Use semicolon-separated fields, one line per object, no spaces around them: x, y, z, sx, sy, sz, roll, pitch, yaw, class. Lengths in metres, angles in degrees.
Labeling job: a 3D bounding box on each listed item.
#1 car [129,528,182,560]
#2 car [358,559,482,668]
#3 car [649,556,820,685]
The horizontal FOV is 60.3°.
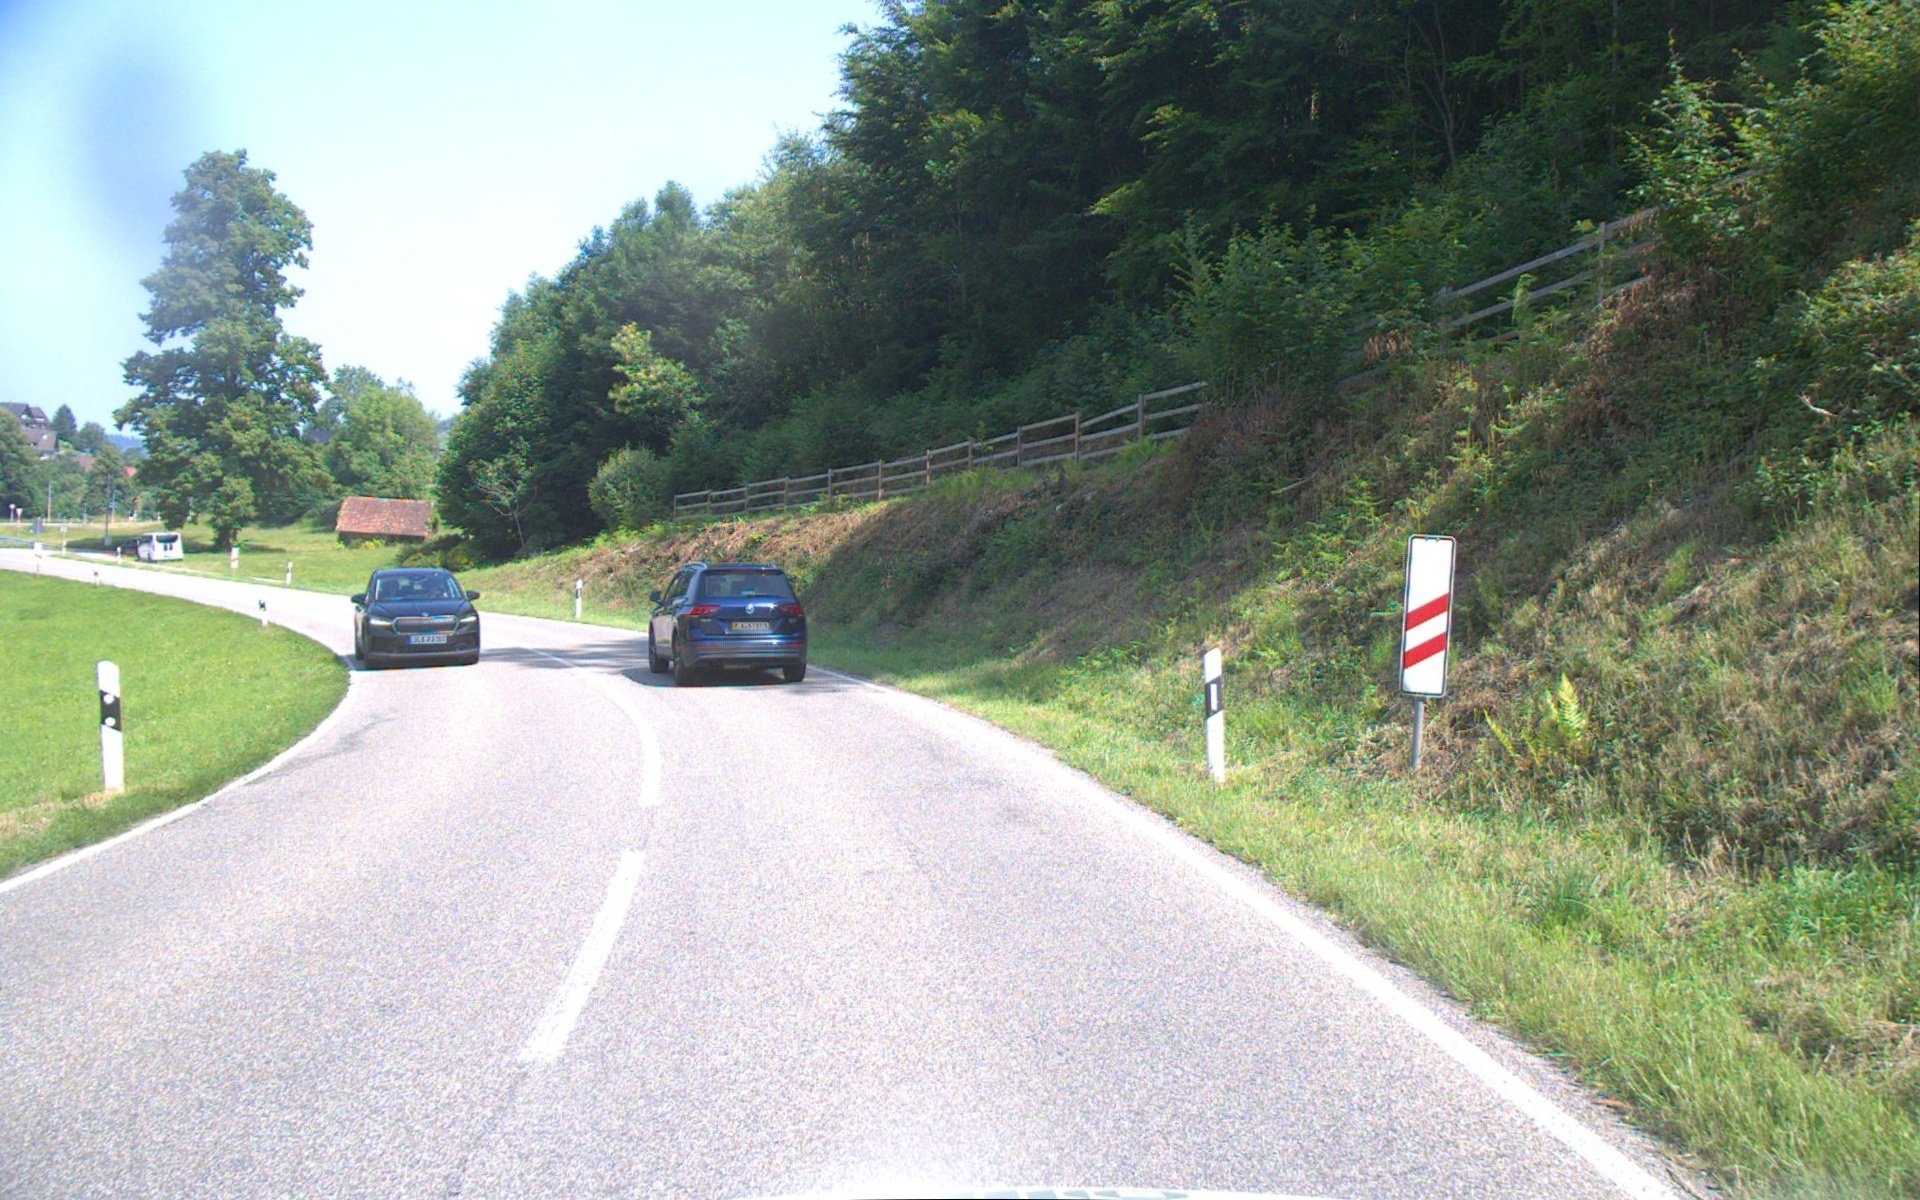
-52.968;-3.691;108.870;1.987;1.879;4.800;-6;7;-39;car
-9.363;0.152;28.622;1.847;1.614;4.571;-1;3;-19;car
-3.339;0.244;23.827;1.823;1.678;4.120;0;1;-17;car
